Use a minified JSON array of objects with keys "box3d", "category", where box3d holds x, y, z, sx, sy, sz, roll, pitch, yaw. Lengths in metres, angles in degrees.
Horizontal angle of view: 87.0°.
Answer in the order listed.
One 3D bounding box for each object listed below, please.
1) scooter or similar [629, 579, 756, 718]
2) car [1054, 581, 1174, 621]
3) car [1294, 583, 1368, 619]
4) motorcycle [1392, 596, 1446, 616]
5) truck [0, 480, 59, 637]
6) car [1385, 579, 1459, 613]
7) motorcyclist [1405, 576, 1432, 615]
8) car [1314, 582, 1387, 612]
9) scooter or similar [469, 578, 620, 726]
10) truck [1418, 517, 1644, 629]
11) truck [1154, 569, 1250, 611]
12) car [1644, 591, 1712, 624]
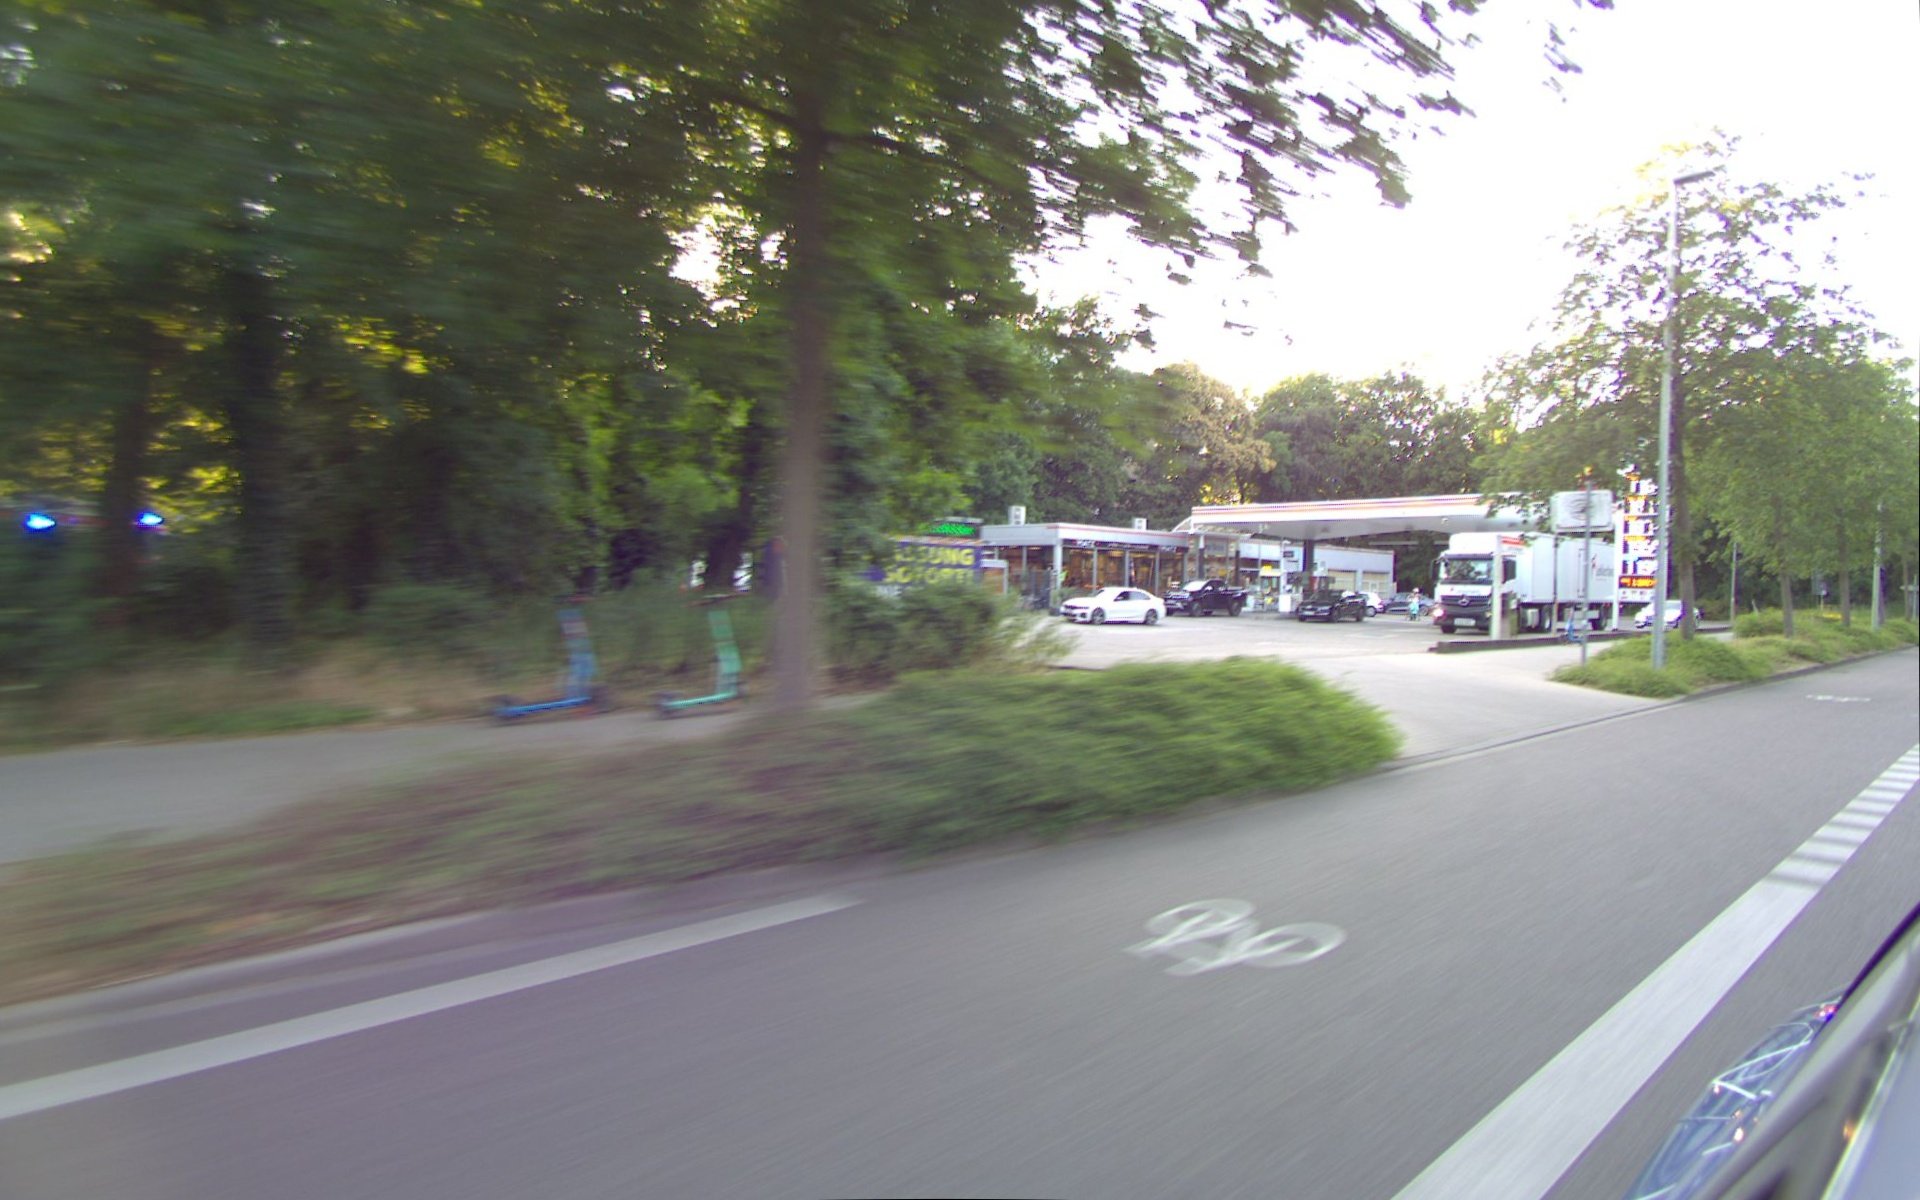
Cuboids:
[{"box3d":[-2.665,0.457,10.144,0.482,1.298,1.122,3,2,44],"category":"scooter or similar"},{"box3d":[6.160,0.015,40.370,4.639,1.431,1.735,0,4,-31],"category":"car"},{"box3d":[16.868,0.047,45.911,1.669,1.528,3.935,0,0,45],"category":"car"},{"box3d":[24.721,0.287,54.493,3.930,1.037,1.136,0,0,-41],"category":"motorcycle"},{"box3d":[-20.446,-0.823,18.742,2.703,3.251,8.683,1,1,-21],"category":"truck"},{"box3d":[29.437,-0.281,64.480,3.979,2.038,1.808,2,1,38],"category":"car"},{"box3d":[24.686,-0.248,54.477,1.057,2.039,1.009,0,0,-41],"category":"motorcyclist"},{"box3d":[23.189,-0.191,60.210,3.952,1.543,1.986,4,1,21],"category":"car"},{"box3d":[-3.909,0.453,9.561,0.482,1.298,1.212,3,2,43],"category":"scooter or similar"},{"box3d":[23.397,-0.965,40.652,15.615,3.775,3.223,0,1,-43],"category":"truck"},{"box3d":[11.936,-0.482,49.732,5.113,1.965,1.997,0,1,-41],"category":"truck"},{"box3d":[36.531,0.358,51.448,4.632,1.611,1.995,0,0,-44],"category":"car"}]
